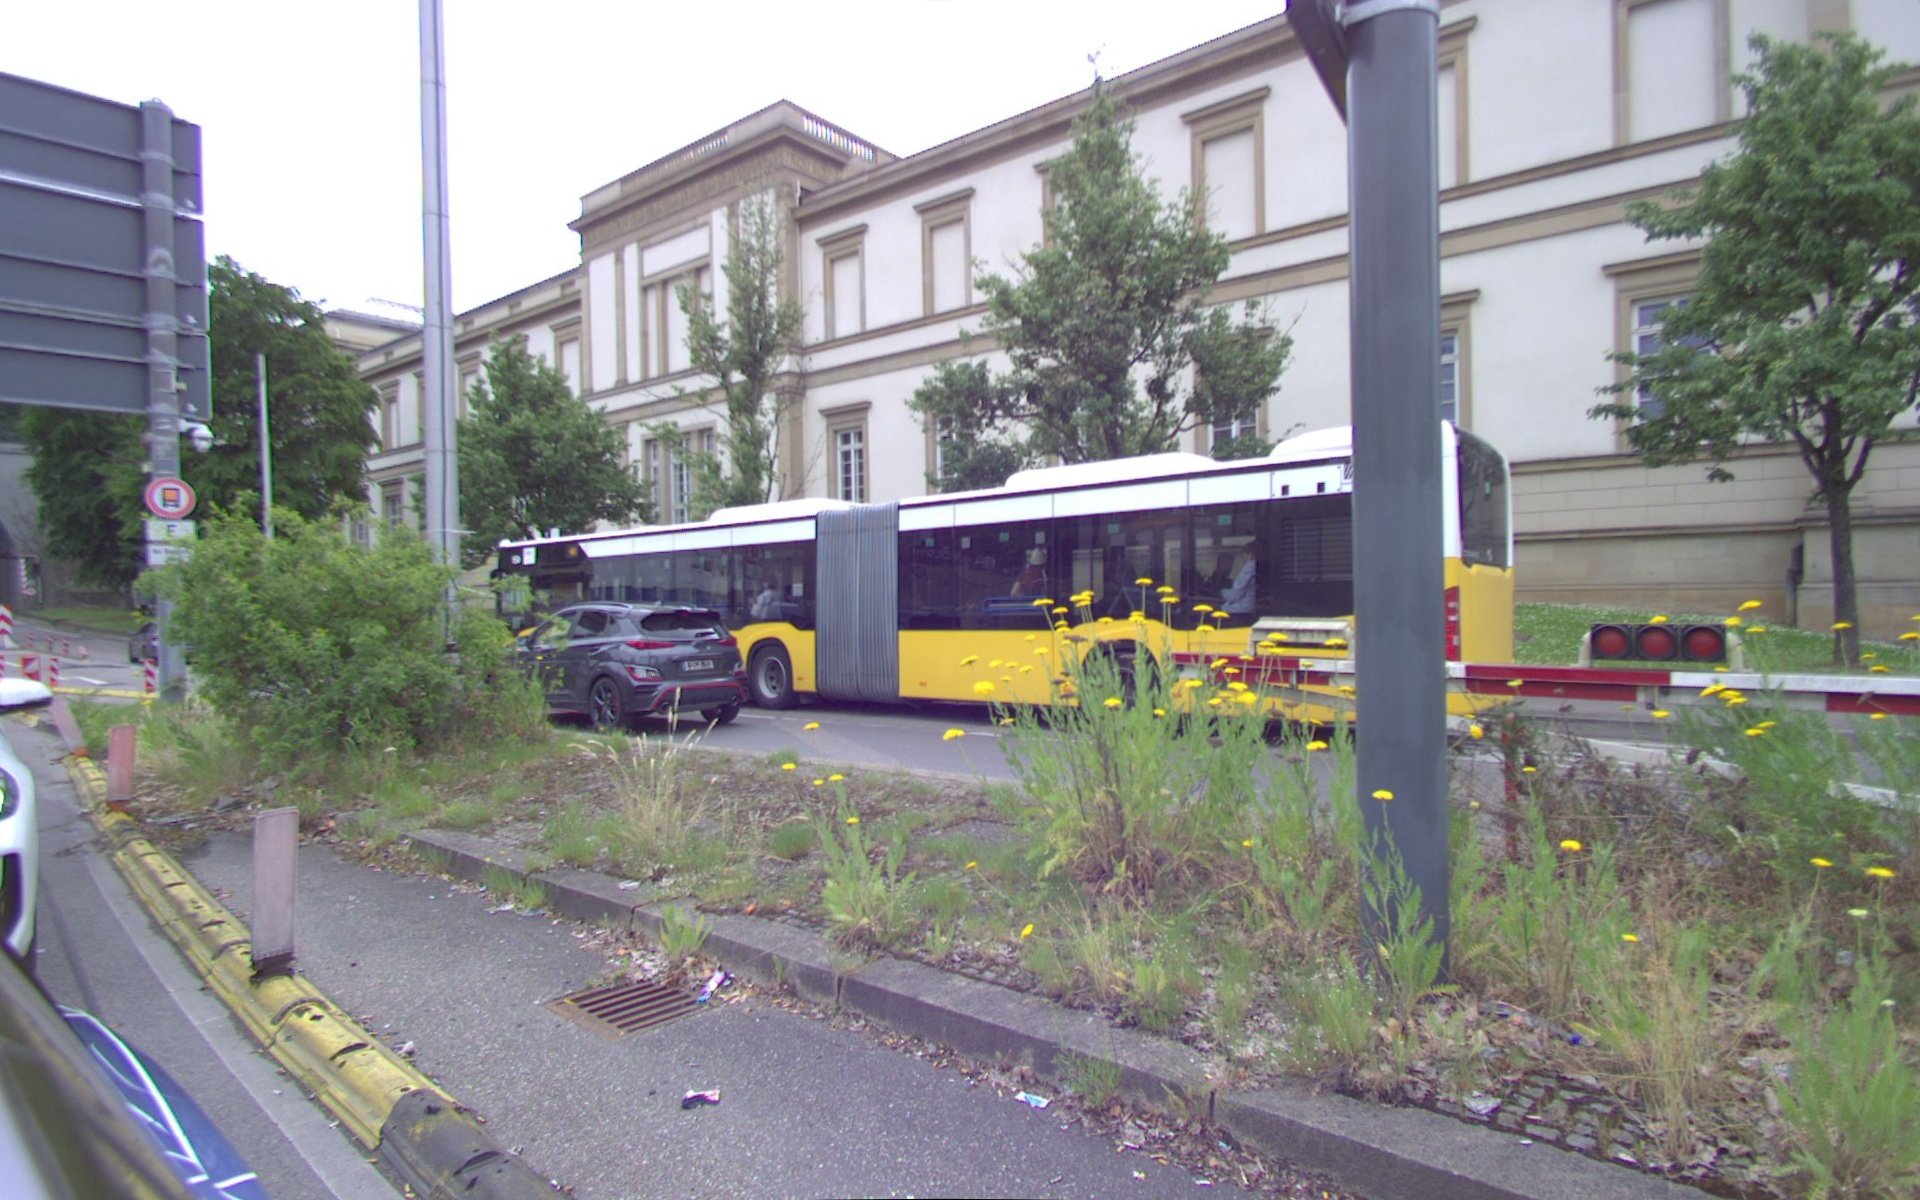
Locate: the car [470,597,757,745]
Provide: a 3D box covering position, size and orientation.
[{"bbox_3d":[-4.526,0.809,12.973,3.879,1.601,1.680,-1,0,40],"label":"car"}]

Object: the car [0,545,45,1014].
[{"bbox_3d":[-5.258,0.667,4.169,3.881,1.603,1.824,-2,0,42],"label":"car"}]

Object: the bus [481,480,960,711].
[{"bbox_3d":[-4.699,0.008,17.916,9.737,3.137,2.818,-1,0,39],"label":"bus"}]

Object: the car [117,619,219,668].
[{"bbox_3d":[-26.540,1.433,33.865,4.282,1.525,1.690,-1,-2,38],"label":"car"}]

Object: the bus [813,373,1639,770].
[{"bbox_3d":[2.412,-0.160,12.010,9.114,3.137,2.817,-1,0,40],"label":"bus"}]
